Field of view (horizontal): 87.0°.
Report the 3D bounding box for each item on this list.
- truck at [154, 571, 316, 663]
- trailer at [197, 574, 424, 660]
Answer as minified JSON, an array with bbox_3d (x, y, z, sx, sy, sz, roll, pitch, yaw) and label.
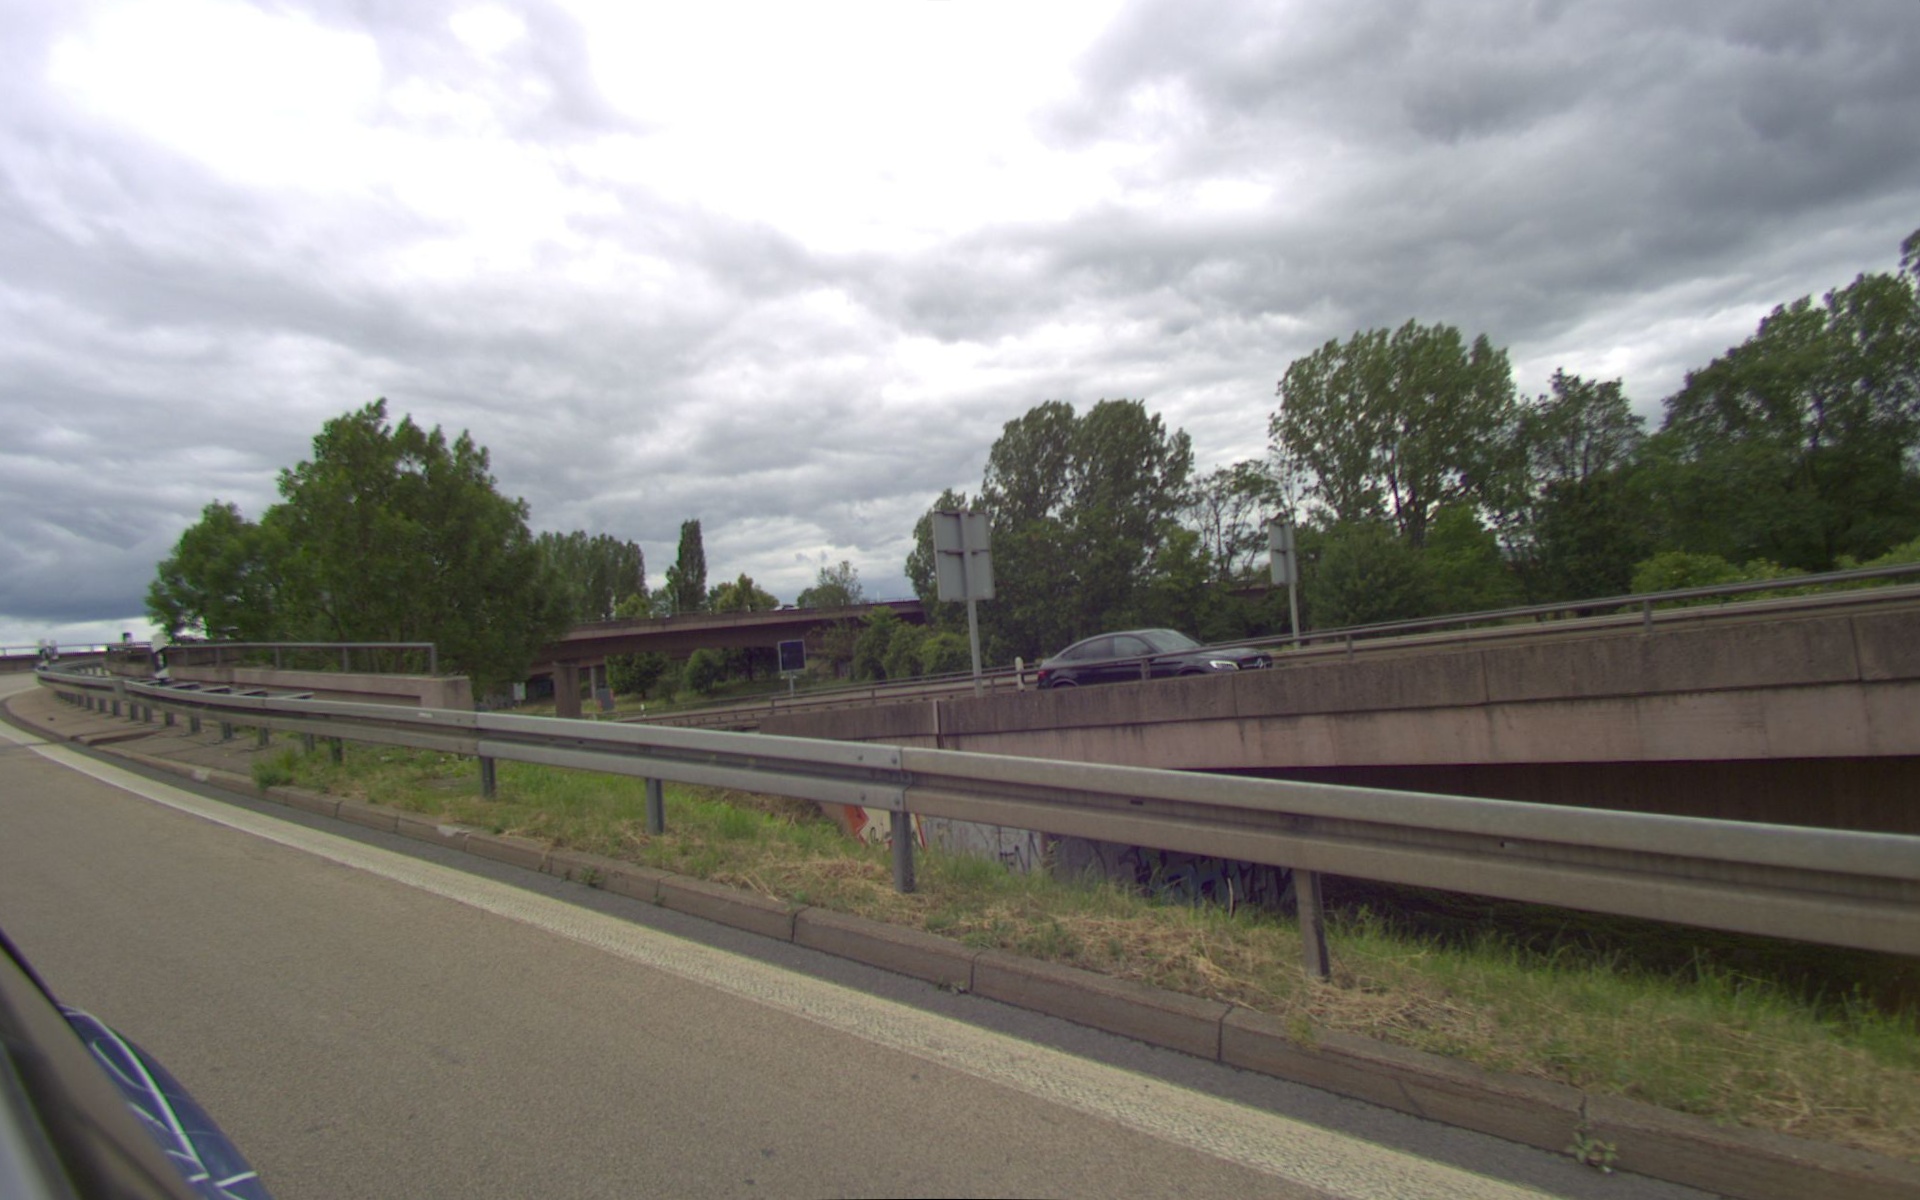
[{"bbox_3d":[-38.969,0.902,54.730,4.114,4.335,5.958,-5,-1,4],"label":"truck"},{"bbox_3d":[-38.731,1.004,61.549,4.075,4.276,13.876,-5,-1,3],"label":"trailer"}]
